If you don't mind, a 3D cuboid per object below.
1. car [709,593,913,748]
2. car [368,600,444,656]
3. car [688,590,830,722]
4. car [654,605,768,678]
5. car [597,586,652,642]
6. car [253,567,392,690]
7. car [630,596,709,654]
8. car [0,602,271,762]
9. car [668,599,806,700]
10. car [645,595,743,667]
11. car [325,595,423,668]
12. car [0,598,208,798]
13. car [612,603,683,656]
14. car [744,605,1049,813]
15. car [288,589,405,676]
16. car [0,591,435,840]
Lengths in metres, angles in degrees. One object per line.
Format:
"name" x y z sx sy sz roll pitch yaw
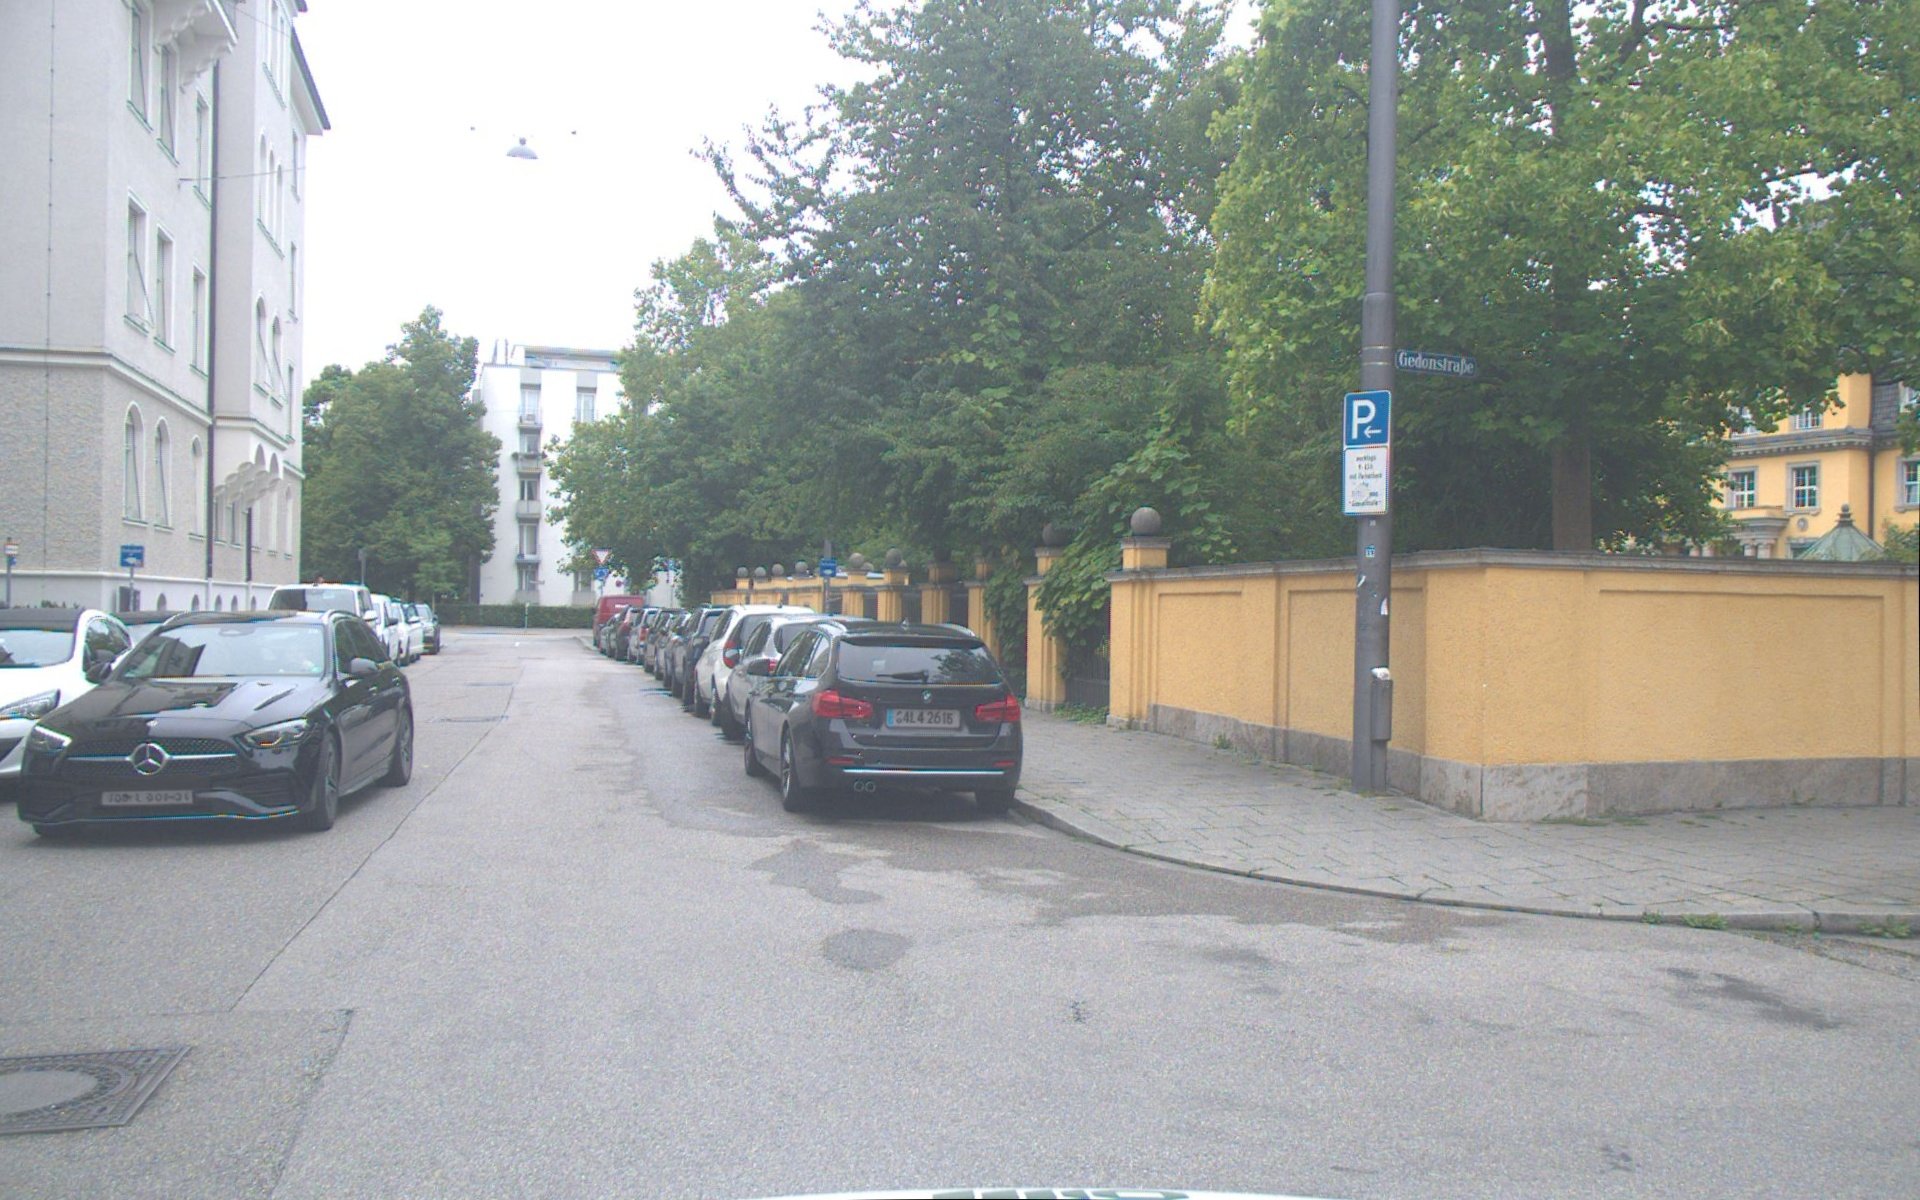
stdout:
"car" -1.780 0.748 18.685 1.625 1.545 3.779 2 -1 -16
"car" -18.424 0.892 55.131 1.981 1.662 4.398 -2 1 -14
"car" -2.891 0.751 23.268 1.488 1.690 3.660 2 -1 -14
"car" -5.138 0.827 33.758 1.808 1.369 3.931 2 -1 -16
"car" -12.662 0.493 62.585 1.803 1.960 3.995 3 0 -10
"car" -12.359 0.501 32.333 1.854 2.165 4.689 -2 1 -14
"car" -8.325 0.712 47.209 1.808 1.545 3.931 2 -1 -16
"car" -9.308 0.836 19.027 1.805 1.525 4.260 -2 1 -13
"car" -3.913 0.821 28.509 1.808 1.578 3.931 2 -1 -16
"car" -6.245 0.710 38.537 1.808 1.545 3.931 2 -1 -16
"car" -15.456 0.774 43.822 1.981 1.756 4.259 -2 1 -14
"car" -8.073 0.761 14.383 1.804 1.463 4.262 -2 1 -11
"car" -9.676 0.902 51.073 1.808 1.545 3.931 2 -1 -16
"car" -0.704 0.805 13.781 1.806 1.438 4.329 2 -1 -12
"car" -14.081 0.704 38.201 1.981 1.802 4.398 -2 1 -14
"car" -5.126 0.683 12.032 1.840 1.453 4.399 0 0 -9
